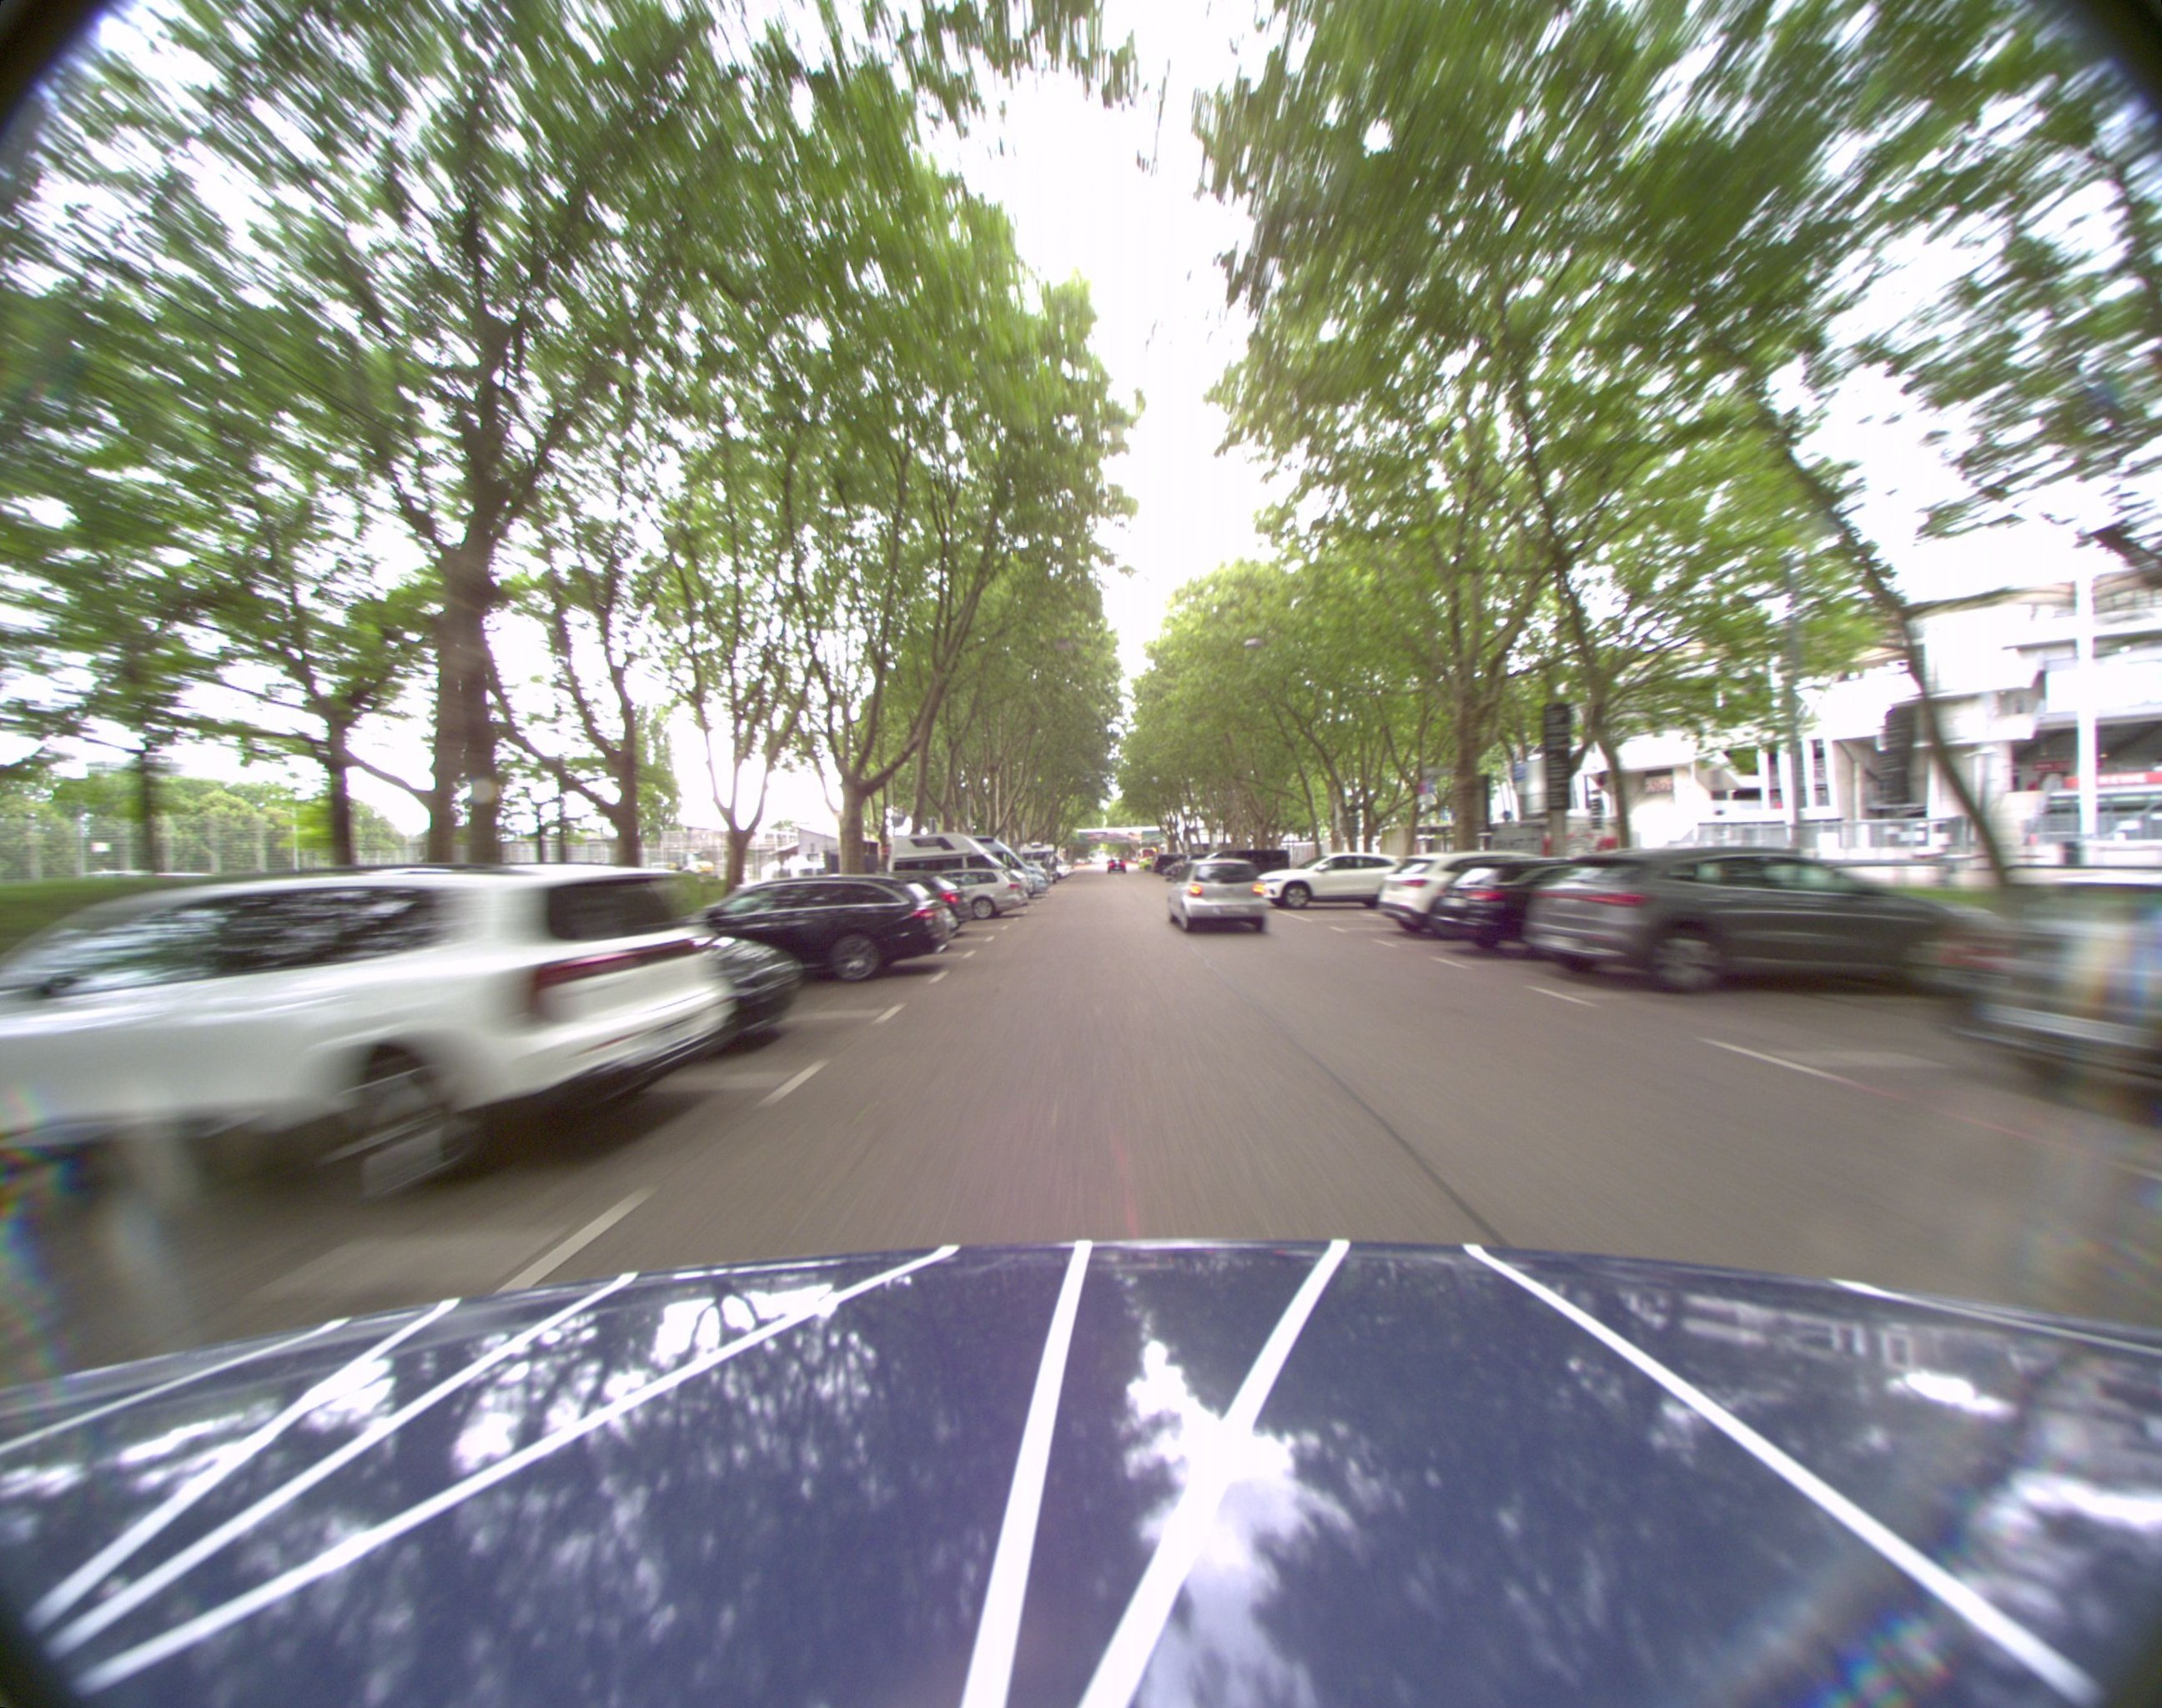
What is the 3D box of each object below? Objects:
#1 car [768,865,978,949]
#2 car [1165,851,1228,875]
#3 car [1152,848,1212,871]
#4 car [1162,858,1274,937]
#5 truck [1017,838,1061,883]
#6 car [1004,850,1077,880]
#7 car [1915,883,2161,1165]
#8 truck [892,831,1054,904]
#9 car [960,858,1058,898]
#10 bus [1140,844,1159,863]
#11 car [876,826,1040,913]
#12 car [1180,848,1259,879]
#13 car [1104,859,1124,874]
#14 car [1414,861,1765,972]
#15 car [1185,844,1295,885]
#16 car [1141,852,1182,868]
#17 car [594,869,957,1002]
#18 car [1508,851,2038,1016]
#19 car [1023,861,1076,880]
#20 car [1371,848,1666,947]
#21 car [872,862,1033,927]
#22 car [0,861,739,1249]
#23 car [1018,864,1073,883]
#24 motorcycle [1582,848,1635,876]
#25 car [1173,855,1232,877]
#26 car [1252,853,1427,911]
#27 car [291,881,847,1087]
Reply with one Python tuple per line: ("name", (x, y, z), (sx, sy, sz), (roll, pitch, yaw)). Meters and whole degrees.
("car", (-4.444, 1.119, 16.723), (4.054, 1.517, 1.814), (-3, 0, 0))
("car", (8.714, 0.659, 57.754), (4.589, 1.771, 1.798), (0, -1, 3))
("car", (8.611, 0.500, 65.314), (4.917, 1.913, 2.208), (0, 0, 2))
("car", (2.794, 0.830, 16.292), (1.693, 1.463, 3.839), (0, 0, 0))
("truck", (-3.096, 0.449, 54.415), (2.466, 2.920, 7.533), (-3, 0, -7))
("car", (-4.032, 1.065, 75.197), (6.903, 2.679, 2.126), (-3, 0, -8))
("car", (7.558, 0.921, 4.176), (3.996, 1.405, 1.683), (1, 0, 2))
("truck", (-4.414, 0.547, 31.842), (6.308, 2.699, 2.098), (-3, 0, 3))
("car", (-3.433, 1.122, 36.743), (4.350, 1.608, 1.804), (-4, 0, 4))
("bus", (11.961, -0.150, 133.771), (2.657, 3.136, 12.371), (1, 0, 3))
("car", (-4.221, 0.528, 26.694), (5.241, 2.673, 1.957), (-3, 0, 2))
("car", (8.570, 0.600, 47.428), (4.664, 1.809, 1.807), (1, -1, 4))
("car", (3.259, 1.232, 76.469), (1.658, 1.356, 4.111), (1, 0, -2))
("car", (7.392, 0.865, 11.354), (3.997, 1.467, 1.842), (1, 0, -1))
("car", (8.324, 0.560, 40.130), (5.449, 2.115, 1.940), (0, 0, 0))
("car", (8.956, 0.656, 84.828), (4.526, 1.608, 1.758), (-1, 0, 4))
("car", (-4.241, 1.112, 11.055), (4.513, 1.517, 1.703), (-3, 0, 0))
("car", (7.725, 0.824, 8.859), (4.351, 1.658, 2.000), (1, 0, 0))
("car", (-2.751, 1.458, 66.929), (4.376, 1.437, 1.610), (-3, 0, -17))
("car", (7.992, 0.758, 14.207), (4.351, 1.658, 2.000), (1, 0, 0))
("car", (-3.570, 1.117, 21.617), (4.129, 1.420, 1.703), (-5, 1, 3))
("car", (-4.695, 1.032, 4.569), (4.394, 1.745, 1.801), (-3, 0, 4))
("car", (-2.866, 1.553, 61.776), (4.330, 1.294, 1.700), (-3, 0, 2))
("motorcycle", (21.964, 0.323, 31.654), (1.659, 1.136, 0.740), (-1, 1, 5))
("car", (8.689, 0.833, 54.641), (3.907, 1.485, 1.754), (0, 0, -1))
("car", (7.370, 0.775, 21.994), (4.391, 1.587, 2.000), (0, 0, 0))
("car", (-4.655, 1.153, 7.283), (4.194, 1.548, 1.701), (-3, 0, 5))
